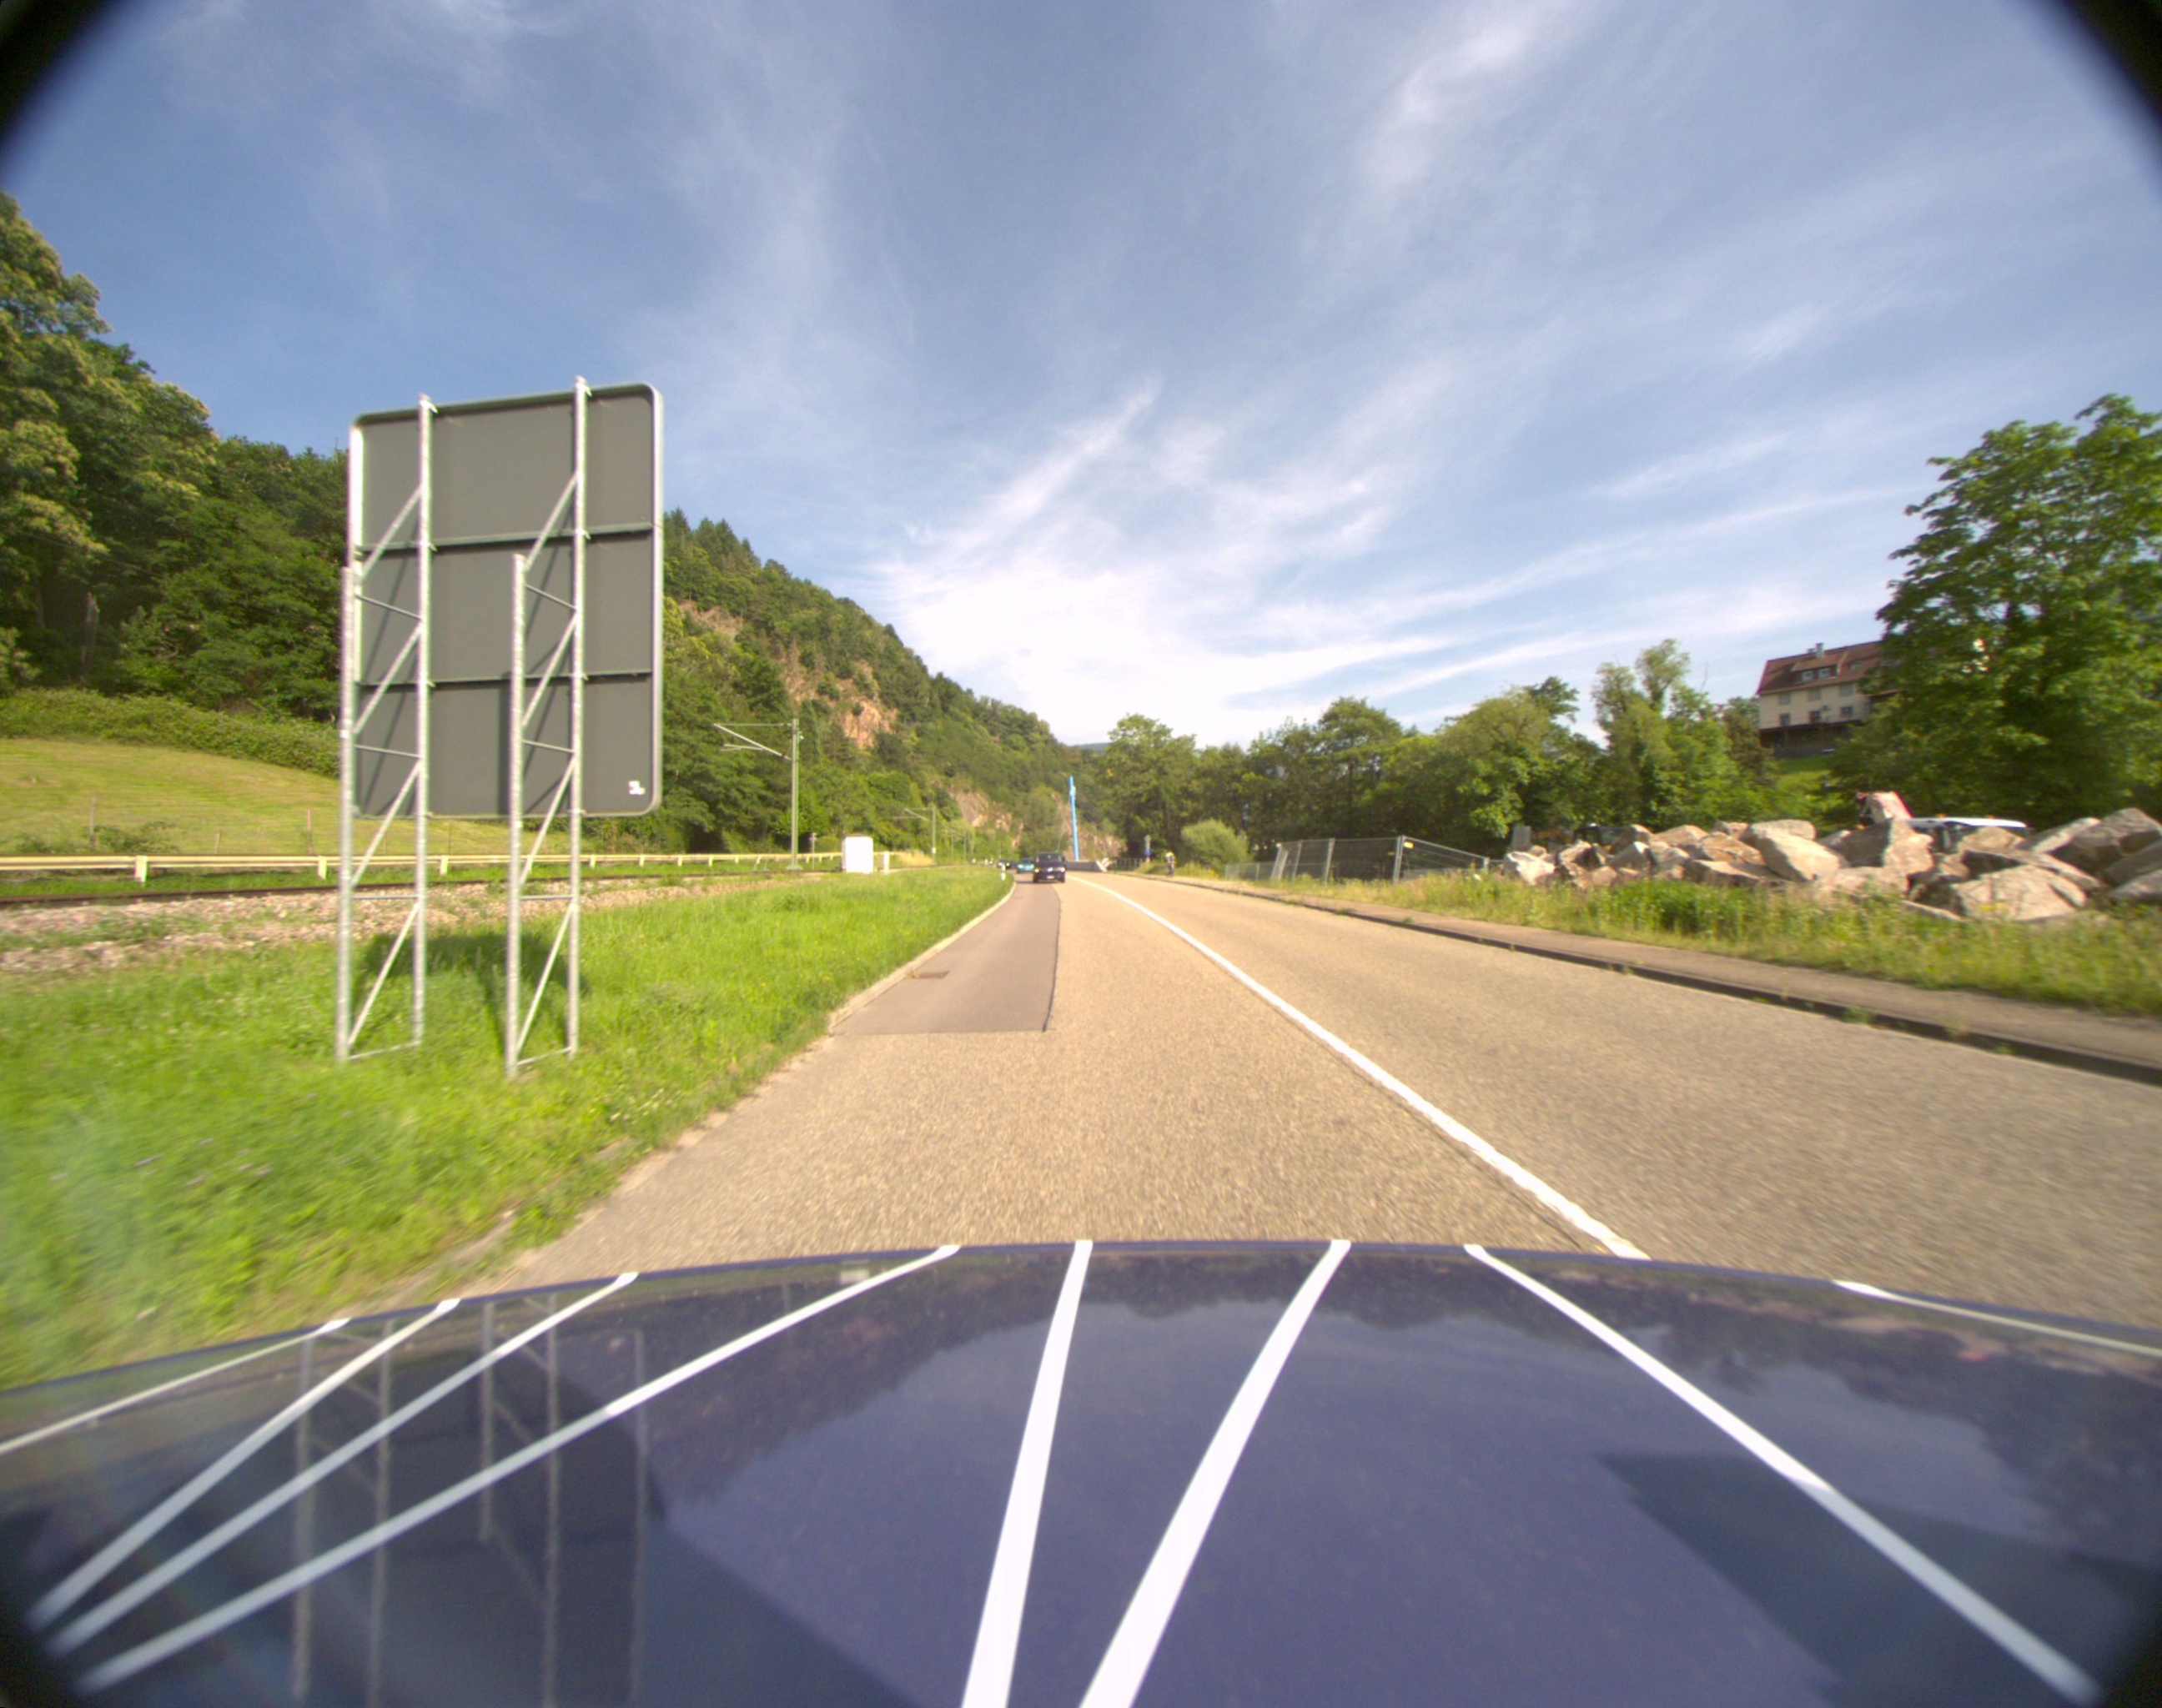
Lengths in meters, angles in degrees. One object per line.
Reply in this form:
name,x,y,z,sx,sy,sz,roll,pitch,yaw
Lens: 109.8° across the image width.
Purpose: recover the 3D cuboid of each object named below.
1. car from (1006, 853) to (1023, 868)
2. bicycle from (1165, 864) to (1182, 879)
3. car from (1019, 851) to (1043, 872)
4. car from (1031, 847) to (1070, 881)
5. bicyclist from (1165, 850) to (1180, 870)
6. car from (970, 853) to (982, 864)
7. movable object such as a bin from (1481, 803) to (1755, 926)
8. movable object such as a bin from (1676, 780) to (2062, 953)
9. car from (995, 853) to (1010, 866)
car,-9.122,0.852,104.123,2.000,2.002,3.997,2,0,-8
bicycle,5.634,1.058,46.353,0.541,0.876,2.252,-2,0,-5
car,-5.109,0.780,76.583,2.000,2.002,3.997,2,0,-9
car,-1.941,0.670,47.599,2.000,2.001,3.998,1,-2,-9
bicyclist,5.581,0.352,46.373,0.686,1.218,0.858,-1,0,-5
car,-19.175,0.787,138.487,2.000,2.002,3.997,2,0,-7
movable object such as a bin,20.173,0.346,29.756,2.708,3.924,9.983,2,0,-6
movable object such as a bin,21.105,0.308,21.194,2.730,3.924,7.225,2,0,-6
car,-12.445,0.865,120.306,2.000,2.002,3.997,2,0,-9
